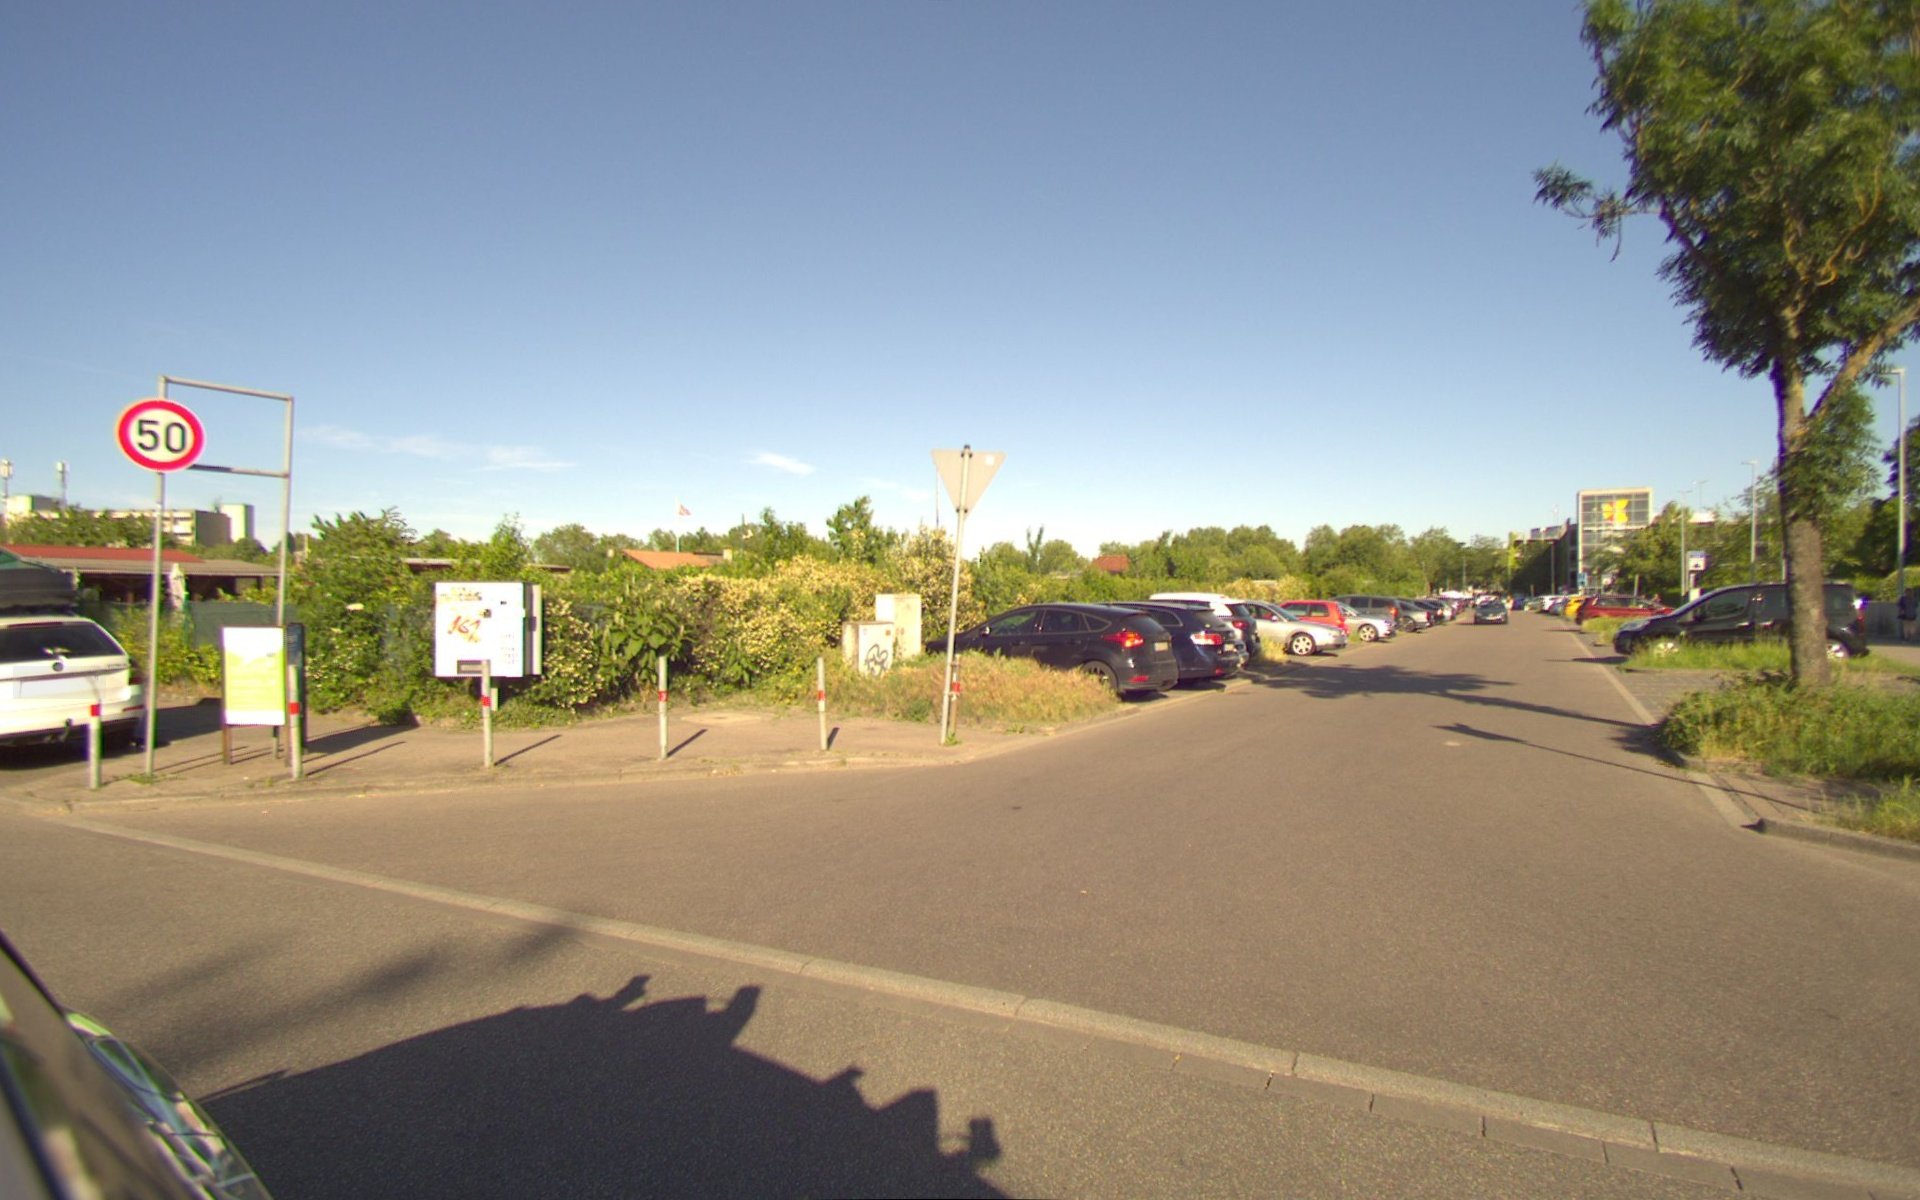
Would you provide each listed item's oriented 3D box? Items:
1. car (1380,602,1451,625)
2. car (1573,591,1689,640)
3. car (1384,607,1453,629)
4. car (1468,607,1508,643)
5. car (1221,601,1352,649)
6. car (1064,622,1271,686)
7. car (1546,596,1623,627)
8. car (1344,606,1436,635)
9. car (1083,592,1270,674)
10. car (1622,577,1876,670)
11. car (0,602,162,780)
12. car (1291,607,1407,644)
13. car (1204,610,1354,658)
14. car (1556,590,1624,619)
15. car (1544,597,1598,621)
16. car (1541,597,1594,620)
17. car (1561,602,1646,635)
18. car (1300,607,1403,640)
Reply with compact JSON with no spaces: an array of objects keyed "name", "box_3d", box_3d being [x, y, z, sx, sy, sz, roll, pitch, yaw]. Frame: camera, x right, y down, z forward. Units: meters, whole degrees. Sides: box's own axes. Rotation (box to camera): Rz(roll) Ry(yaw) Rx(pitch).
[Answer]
[{"name":"car","box_3d":[26.295,0.792,58.489,3.670,1.273,1.496,0,-3,28]},{"name":"car","box_3d":[28.745,0.651,43.496,3.983,2.029,1.980,-1,-1,30]},{"name":"car","box_3d":[27.500,1.065,60.746,3.670,1.273,1.496,0,-3,28]},{"name":"car","box_3d":[31.095,1.453,59.558,1.992,2.029,3.960,-1,0,29]},{"name":"car","box_3d":[10.739,0.809,33.412,3.837,1.496,1.493,-1,-1,35]},{"name":"car","box_3d":[4.147,1.033,20.483,3.837,1.160,1.493,-1,0,35]},{"name":"car","box_3d":[42.673,0.793,69.238,4.375,2.029,1.980,-1,-1,30]},{"name":"car","box_3d":[20.132,0.963,47.413,3.828,1.273,1.496,0,-3,28]},{"name":"car","box_3d":[4.836,0.716,22.832,3.837,1.707,1.493,-1,-1,35]},{"name":"car","box_3d":[16.493,0.481,21.428,4.094,1.803,1.493,-1,-1,35]},{"name":"car","box_3d":[-10.334,0.865,10.419,4.497,1.524,1.685,-1,2,29]},{"name":"car","box_3d":[14.205,0.931,37.008,3.828,1.273,1.496,-1,0,28]},{"name":"car","box_3d":[8.916,0.941,28.364,3.828,1.273,1.496,0,-3,28]},{"name":"car","box_3d":[44.995,0.328,72.397,3.983,2.029,1.980,-1,-1,30]},{"name":"car","box_3d":[53.835,0.813,89.291,3.983,2.029,1.980,-1,-1,30]},{"name":"car","box_3d":[55.180,0.796,91.993,3.983,2.029,1.980,-1,-1,30]},{"name":"car","box_3d":[39.771,1.130,62.583,4.382,1.954,1.977,-1,0,35]},{"name":"car","box_3d":[16.026,0.958,41.460,3.828,1.273,1.496,0,-3,28]}]
